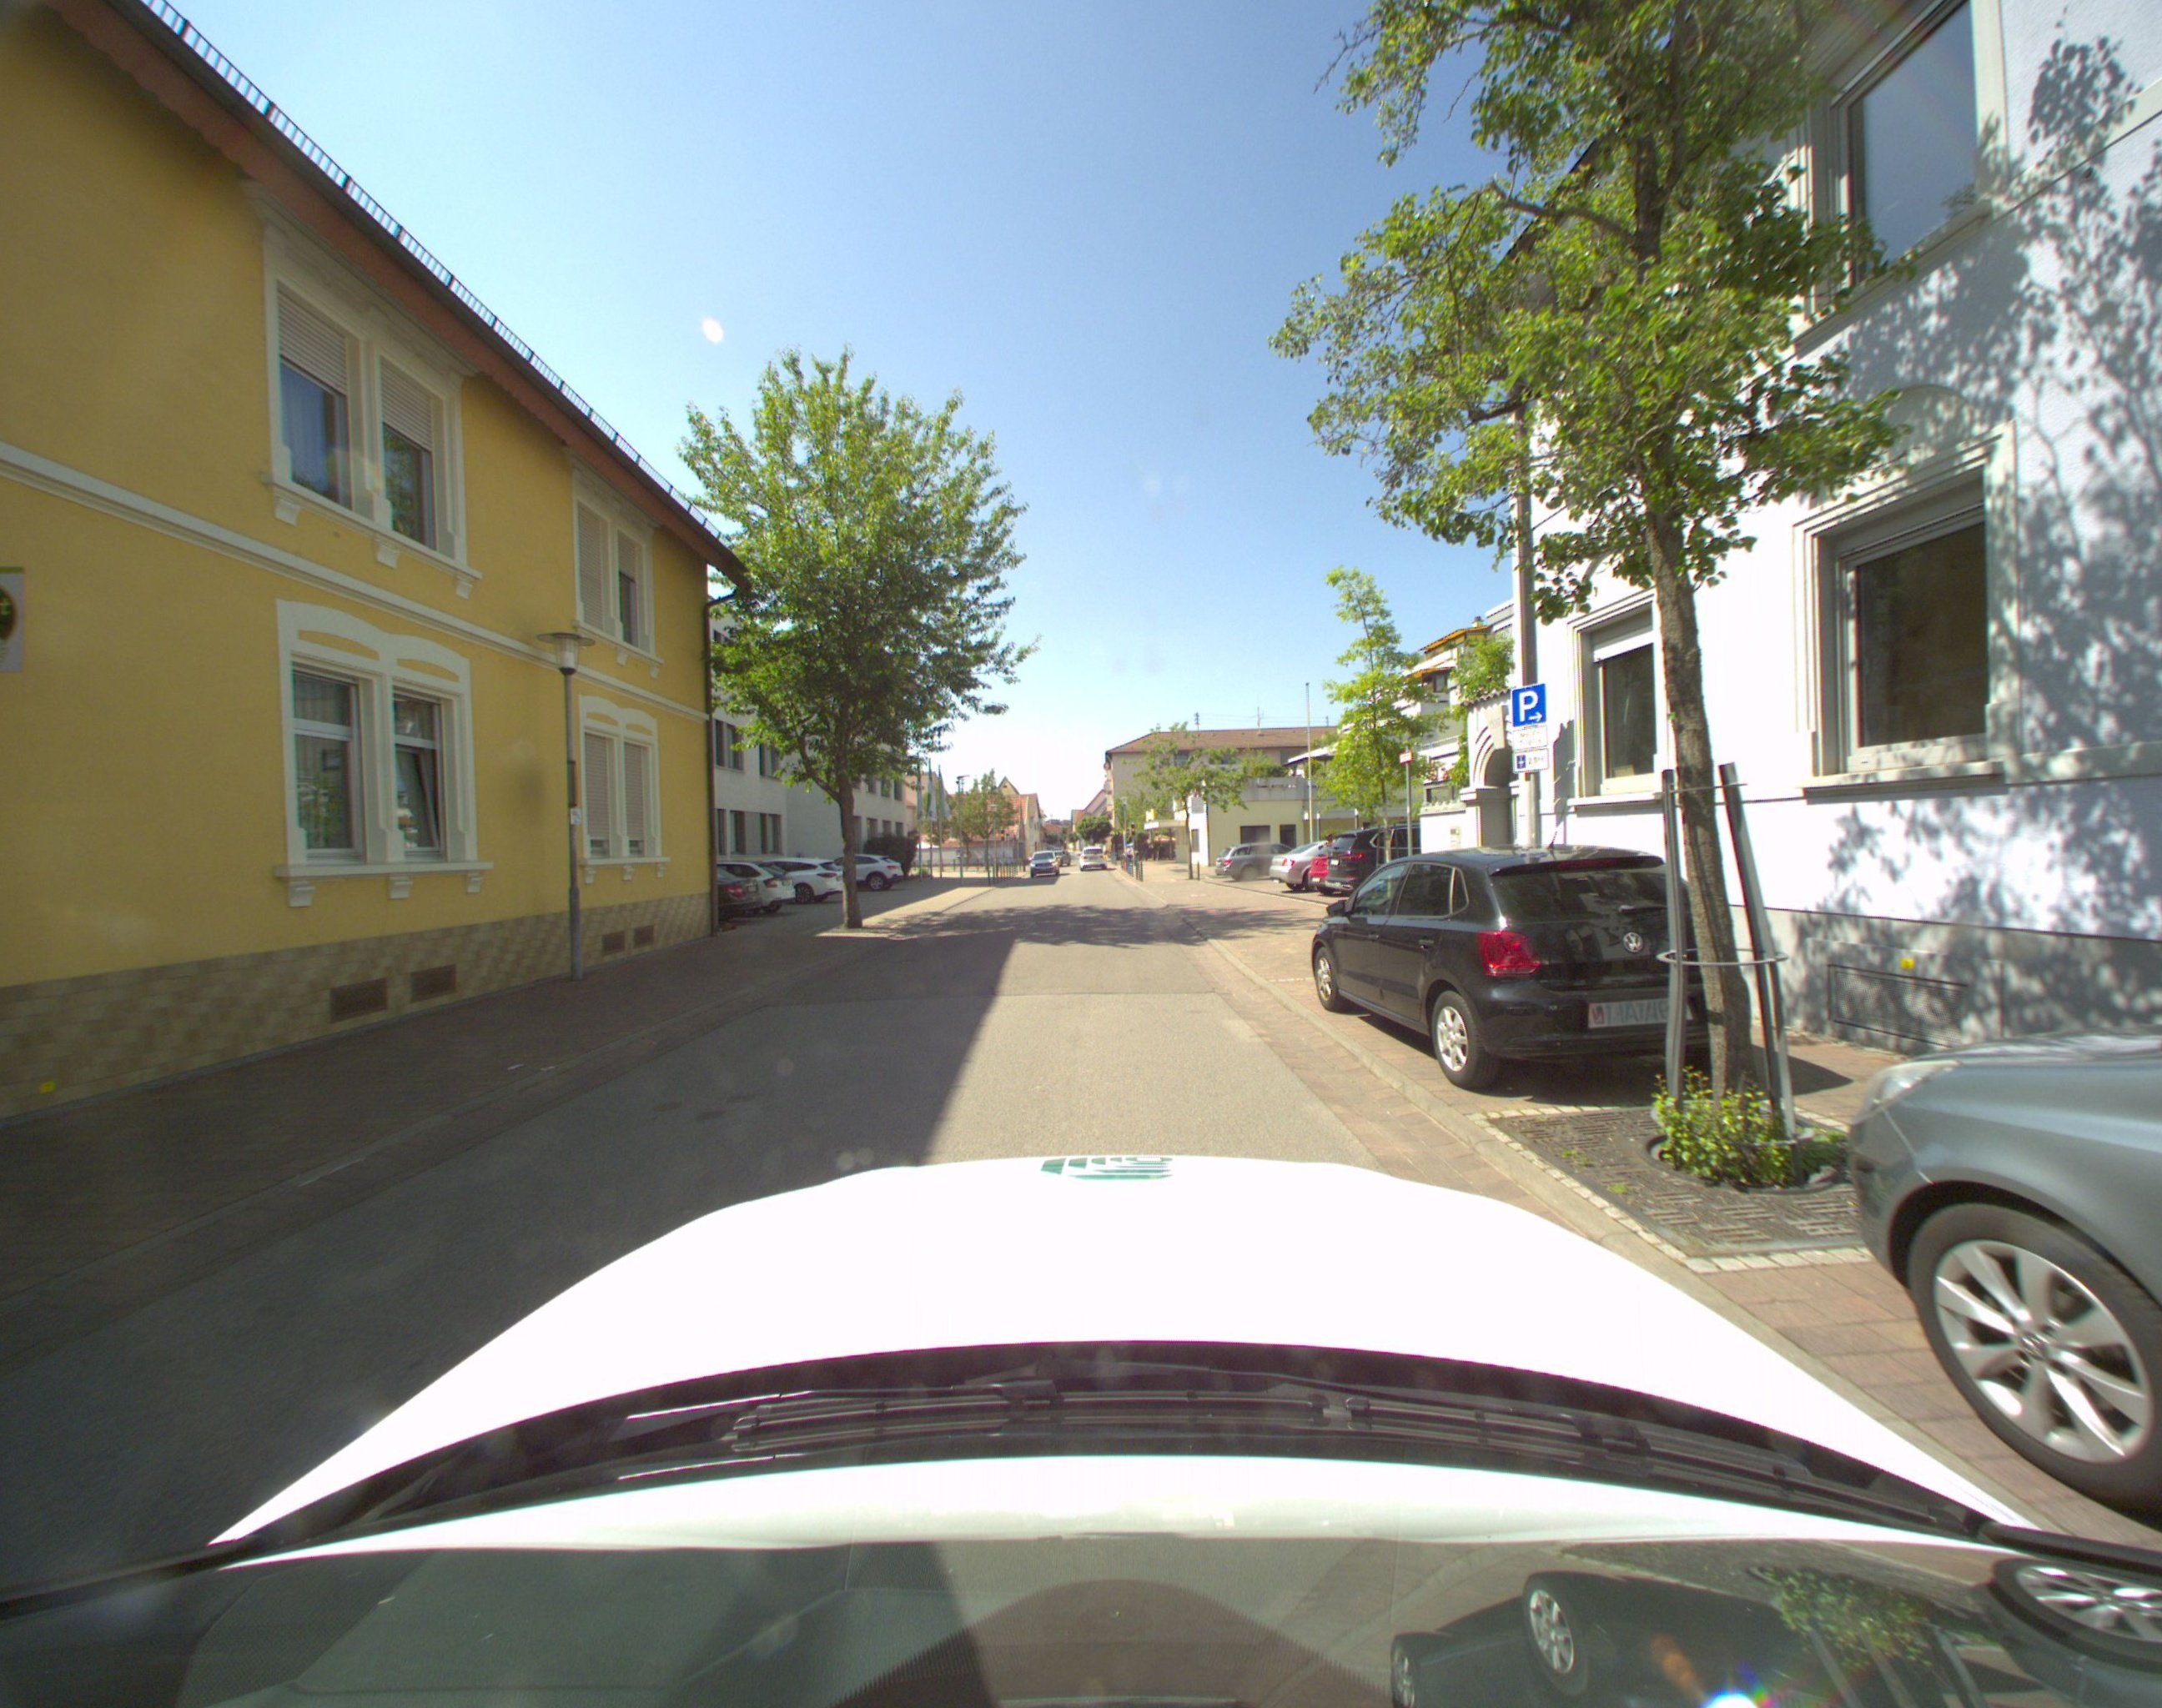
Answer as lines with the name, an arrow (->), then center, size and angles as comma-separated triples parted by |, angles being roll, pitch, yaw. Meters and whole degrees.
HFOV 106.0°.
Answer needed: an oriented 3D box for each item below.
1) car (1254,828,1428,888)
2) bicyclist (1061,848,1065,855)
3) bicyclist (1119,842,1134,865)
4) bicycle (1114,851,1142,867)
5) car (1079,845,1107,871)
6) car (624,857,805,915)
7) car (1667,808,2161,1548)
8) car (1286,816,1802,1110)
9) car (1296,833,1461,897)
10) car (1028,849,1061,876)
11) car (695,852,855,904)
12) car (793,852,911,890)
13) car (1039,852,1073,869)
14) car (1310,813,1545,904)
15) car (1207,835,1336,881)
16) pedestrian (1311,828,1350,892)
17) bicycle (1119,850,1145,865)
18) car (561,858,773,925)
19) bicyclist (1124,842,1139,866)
car -> 7.643, 0.101, 24.140 | 4.530, 1.440, 1.836 | -3, 0, -6
bicyclist -> -3.888, -0.474, 175.499 | 0.671, 1.482, 0.770 | -2, 0, -1
bicyclist -> 3.258, -0.018, 58.022 | 0.765, 1.581, 0.663 | -4, 1, -36
bicycle -> 3.354, 0.348, 58.094 | 1.905, 0.958, 0.668 | -4, 1, -36
car -> 0.834, 0.238, 55.741 | 1.827, 1.652, 4.000 | -2, 0, 1
car -> -9.655, 0.817, 21.708 | 3.977, 1.451, 1.806 | 0, 0, -2
car -> 2.971, 0.608, 0.902 | 1.711, 1.481, 4.096 | -3, 0, 1
car -> 3.016, 0.594, 6.383 | 1.698, 1.481, 3.920 | -4, 0, -1
car -> 7.843, 0.269, 21.655 | 3.725, 1.452, 1.741 | -3, 0, -6
car -> -2.273, 0.492, 51.438 | 1.845, 1.573, 3.999 | -2, 0, 0
car -> -9.965, 0.759, 26.808 | 4.490, 1.554, 1.935 | -1, 1, -1
car -> -9.803, 0.696, 35.124 | 4.494, 1.554, 2.146 | 0, 0, -2
car -> -2.159, 0.557, 72.988 | 1.867, 1.464, 4.453 | -2, 0, 14
car -> 8.080, 0.101, 19.323 | 4.617, 1.771, 2.147 | -3, 0, -1
car -> 7.540, 0.159, 32.400 | 4.570, 1.512, 1.912 | -3, 0, -7
pedestrian -> 6.983, 0.173, 22.805 | 0.748, 1.717, 0.697 | -3, 0, -7
bicycle -> 3.701, 0.277, 59.464 | 1.905, 0.958, 0.668 | -4, 0, -39
car -> -9.614, 0.838, 19.207 | 3.980, 1.431, 1.969 | 0, 0, -5
bicyclist -> 3.718, 0.012, 59.458 | 0.765, 1.664, 0.663 | -4, 0, -40
